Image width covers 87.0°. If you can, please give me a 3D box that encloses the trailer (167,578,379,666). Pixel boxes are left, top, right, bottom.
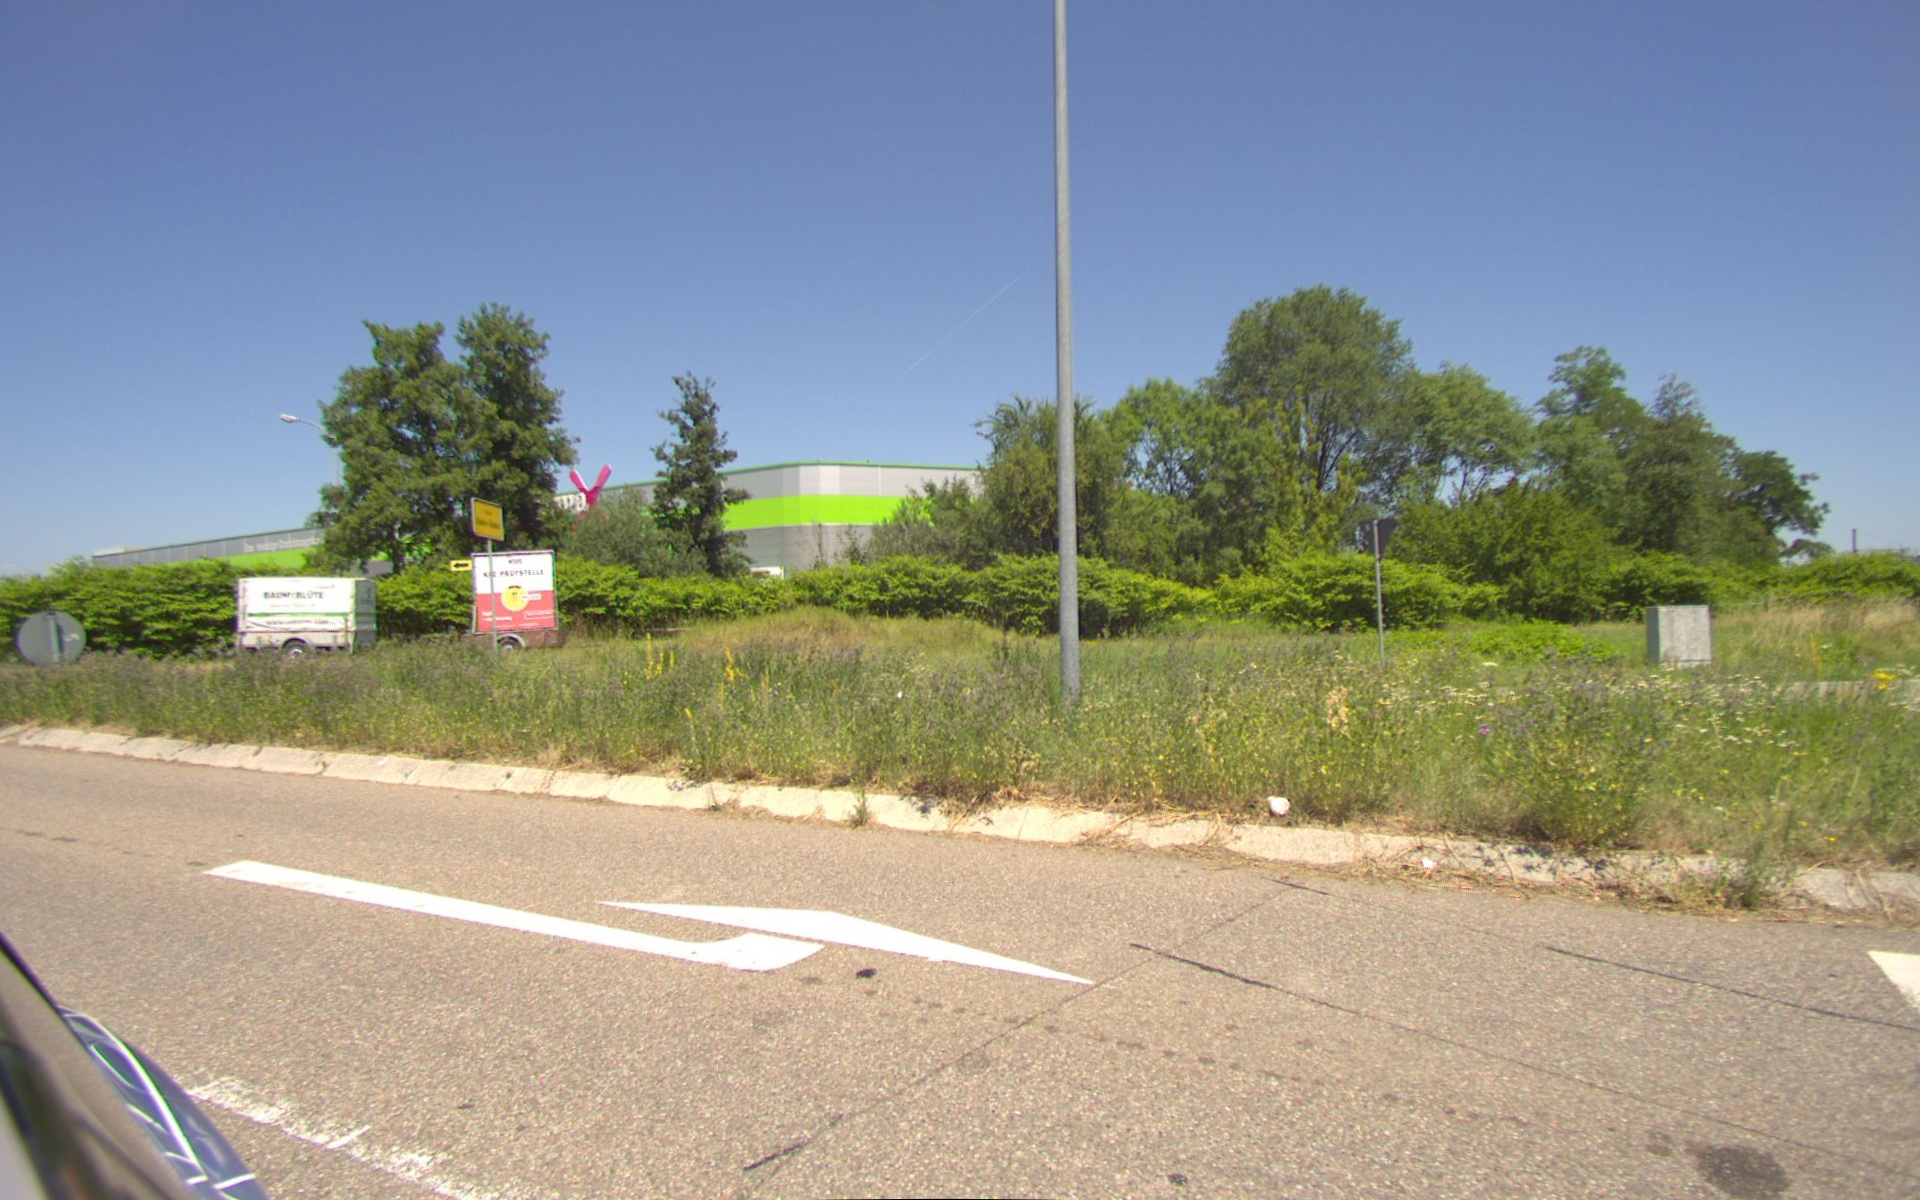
[{"bbox_3d":[-16.784,0.495,24.911,3.896,2.029,1.860,-1,1,-9],"label":"trailer"}]

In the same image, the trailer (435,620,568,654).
[{"bbox_3d":[-11.770,0.936,26.129,2.806,0.744,1.569,-1,1,-9],"label":"trailer"}]
